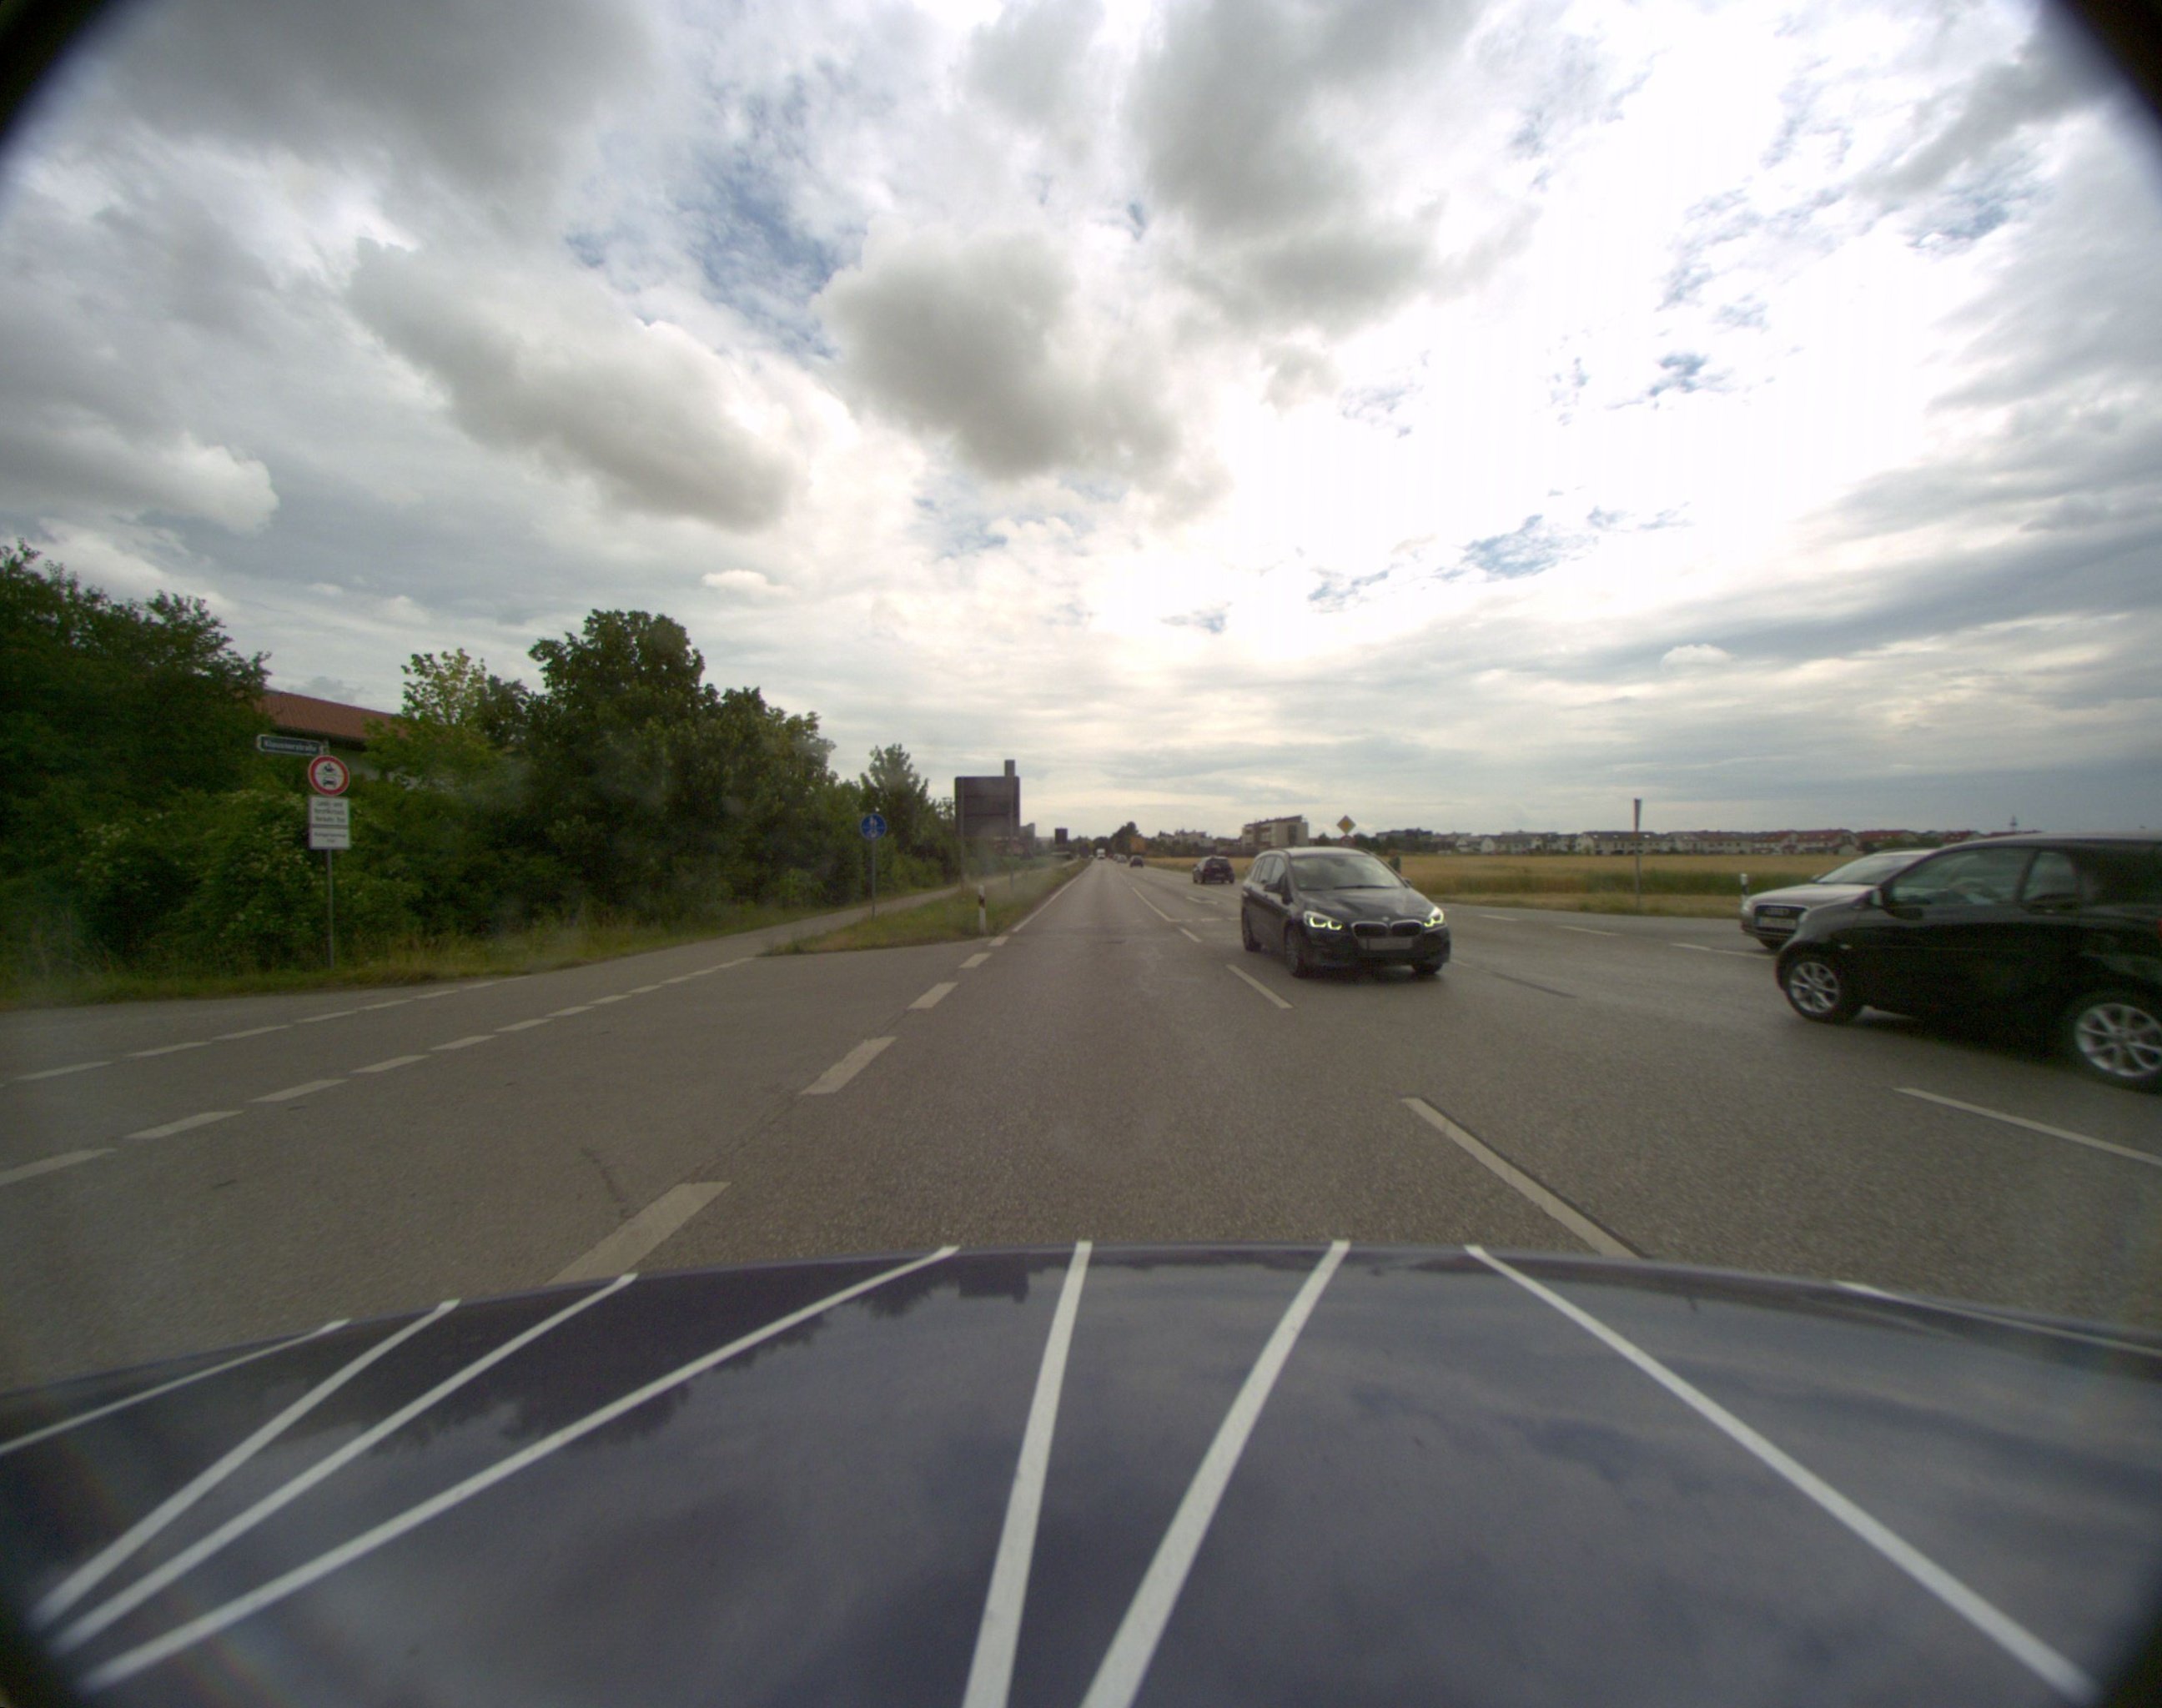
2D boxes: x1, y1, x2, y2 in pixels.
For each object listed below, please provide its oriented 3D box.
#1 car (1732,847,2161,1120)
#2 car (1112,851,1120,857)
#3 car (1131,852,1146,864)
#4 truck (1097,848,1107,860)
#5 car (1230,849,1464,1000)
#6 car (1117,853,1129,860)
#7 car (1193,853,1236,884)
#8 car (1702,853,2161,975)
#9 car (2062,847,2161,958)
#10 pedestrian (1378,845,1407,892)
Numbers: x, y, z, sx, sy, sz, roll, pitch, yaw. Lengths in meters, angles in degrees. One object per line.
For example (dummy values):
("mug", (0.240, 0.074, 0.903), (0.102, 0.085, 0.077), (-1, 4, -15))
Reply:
("car", (6.823, 0.715, 5.410), (1.665, 1.475, 3.168), (-2, 0, 1))
("car", (8.713, -0.123, 190.299), (1.856, 1.480, 4.264), (0, 0, 0))
("car", (7.614, 0.525, 101.095), (1.740, 1.450, 4.131), (-1, 0, 0))
("truck", (6.682, -0.047, 240.727), (2.813, 3.588, 11.220), (-1, 0, 2))
("car", (3.381, 0.778, 10.653), (1.706, 1.602, 4.482), (-2, 0, 1))
("car", (8.075, 0.469, 146.361), (1.856, 1.480, 4.263), (0, 0, -1))
("car", (7.242, 0.764, 41.622), (1.683, 1.512, 4.396), (-2, 0, 2))
("car", (11.276, 0.712, 10.252), (4.464, 1.416, 1.910), (-1, 0, -6))
("car", (17.286, 0.644, 10.403), (4.748, 1.523, 1.912), (-1, 0, 8))
("pedestrian", (10.856, 0.488, 26.470), (0.594, 1.596, 0.866), (2, 1, -1))
